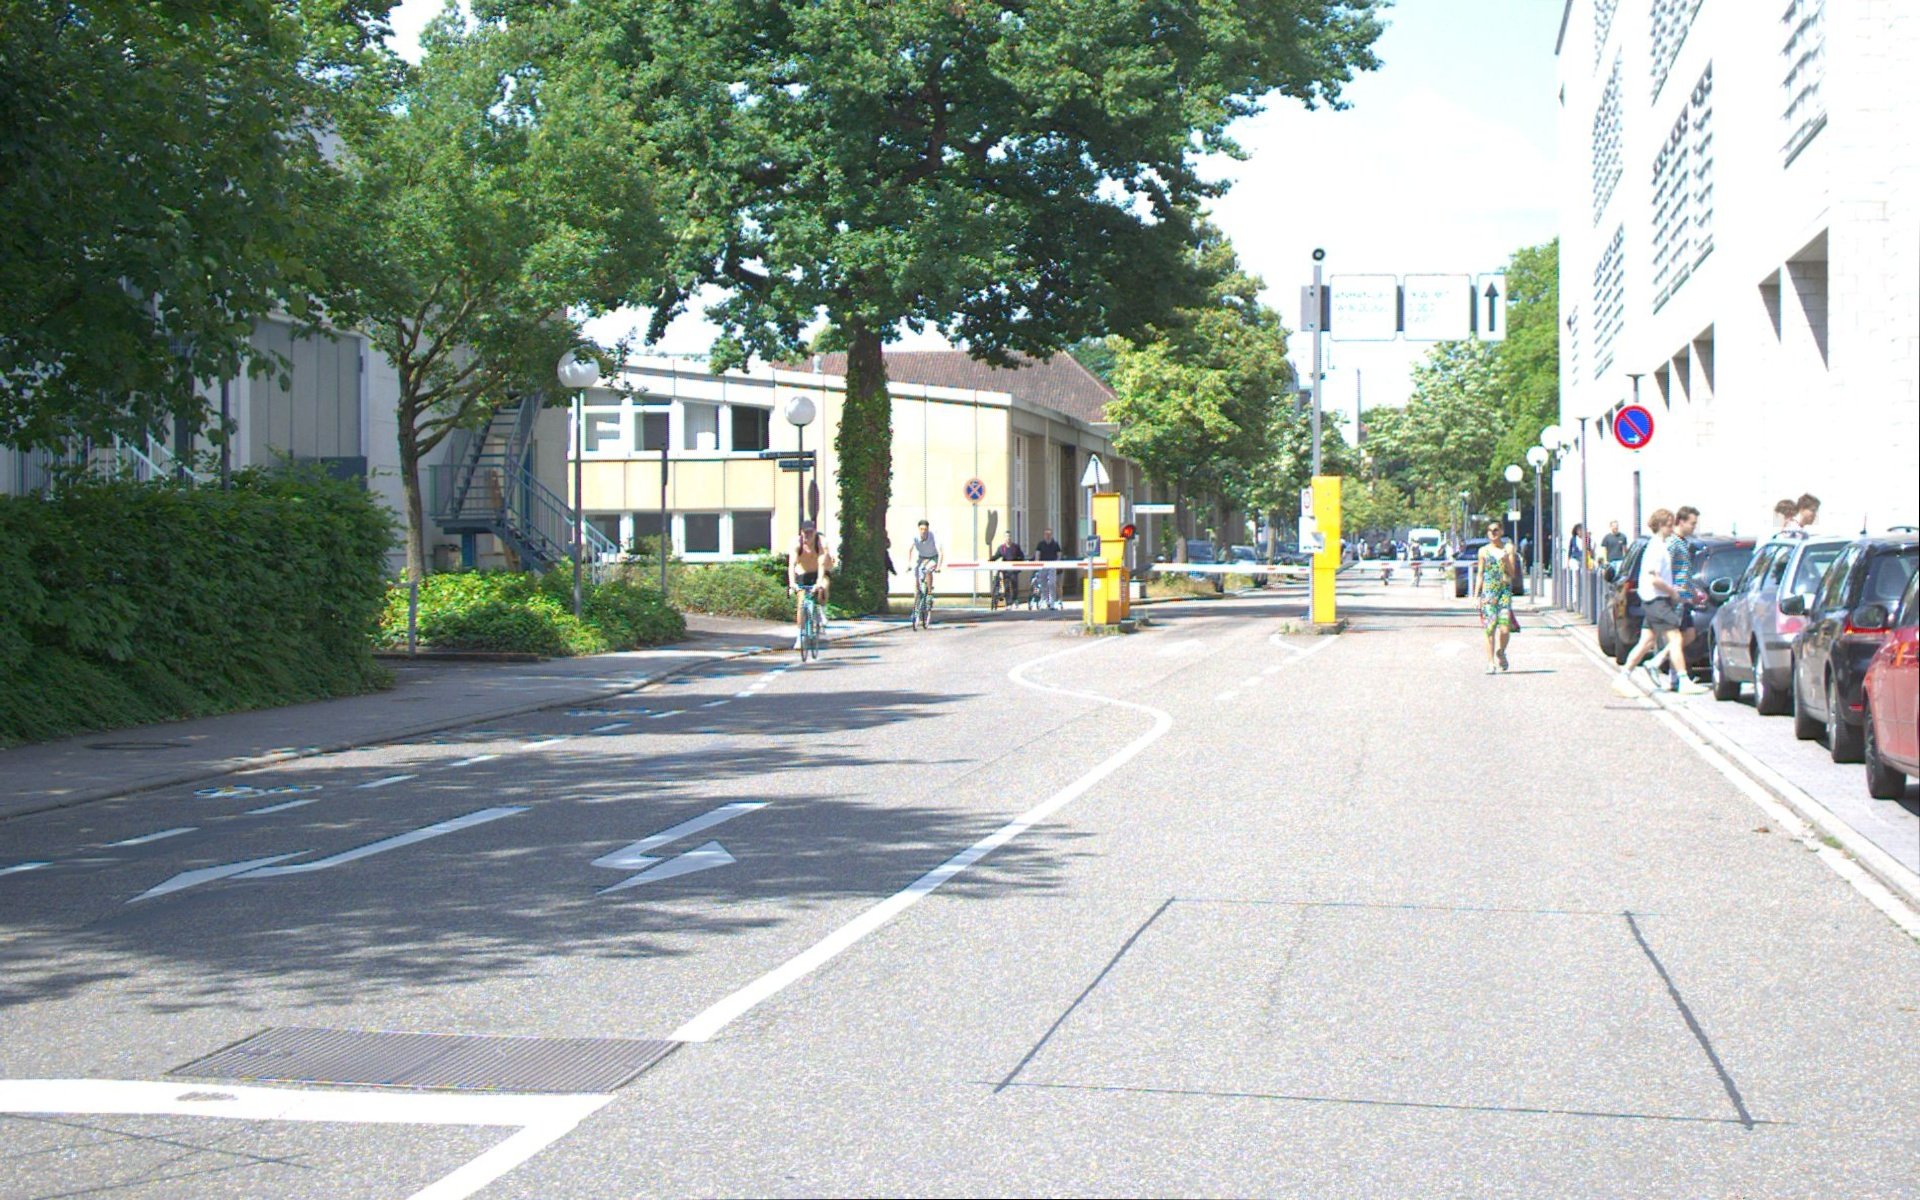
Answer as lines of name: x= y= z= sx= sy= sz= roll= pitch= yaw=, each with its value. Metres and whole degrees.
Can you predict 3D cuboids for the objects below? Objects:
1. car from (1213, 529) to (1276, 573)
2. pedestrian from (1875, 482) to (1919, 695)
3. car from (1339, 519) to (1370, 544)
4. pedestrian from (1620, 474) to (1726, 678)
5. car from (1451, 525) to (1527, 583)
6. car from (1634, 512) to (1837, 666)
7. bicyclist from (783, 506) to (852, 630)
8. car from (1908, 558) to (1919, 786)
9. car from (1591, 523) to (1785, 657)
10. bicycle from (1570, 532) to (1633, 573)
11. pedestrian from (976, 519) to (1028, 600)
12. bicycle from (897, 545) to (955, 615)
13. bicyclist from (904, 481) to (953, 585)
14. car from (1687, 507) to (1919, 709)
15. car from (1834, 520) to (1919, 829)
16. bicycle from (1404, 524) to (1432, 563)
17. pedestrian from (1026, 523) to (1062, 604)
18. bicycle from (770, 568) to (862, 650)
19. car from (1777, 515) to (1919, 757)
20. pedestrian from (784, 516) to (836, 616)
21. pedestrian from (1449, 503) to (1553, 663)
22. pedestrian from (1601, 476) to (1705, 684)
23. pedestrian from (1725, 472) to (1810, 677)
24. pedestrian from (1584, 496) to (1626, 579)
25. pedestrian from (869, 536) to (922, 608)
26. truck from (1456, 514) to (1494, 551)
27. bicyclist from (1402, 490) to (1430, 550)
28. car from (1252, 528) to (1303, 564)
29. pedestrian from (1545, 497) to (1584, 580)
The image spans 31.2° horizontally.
car: x=10.296 y=-1.769 z=124.305 sx=1.994 sy=1.540 sz=4.210 roll=0 pitch=1 yaw=8
pedestrian: x=9.001 y=-0.119 z=31.448 sx=1.095 sy=1.913 sz=1.020 roll=-1 pitch=1 yaw=9
car: x=29.364 y=-5.116 z=255.697 sx=1.994 sy=1.714 sz=3.998 roll=-1 pitch=-1 yaw=10
pedestrian: x=6.802 y=-0.233 z=32.794 sx=0.783 sy=1.919 sz=0.733 roll=0 pitch=1 yaw=30
car: x=14.476 y=-1.282 z=94.225 sx=1.994 sy=1.540 sz=4.210 roll=-1 pitch=1 yaw=8
car: x=7.979 y=-0.146 z=35.660 sx=1.614 sy=1.491 sz=4.005 roll=0 pitch=1 yaw=6
bicyclist: x=-1.793 y=-0.404 z=43.426 sx=0.693 sy=1.543 sz=1.018 roll=-1 pitch=1 yaw=7
car: x=4.901 y=0.507 z=13.357 sx=1.719 sy=1.395 sz=4.437 roll=-3 pitch=1 yaw=8
car: x=8.435 y=-0.160 z=40.133 sx=1.867 sy=1.459 sz=4.519 roll=-1 pitch=1 yaw=8
bicycle: x=16.913 y=-1.252 z=90.643 sx=1.545 sy=1.063 sz=0.647 roll=-1 pitch=1 yaw=16
pedestrian: x=0.959 y=-0.930 z=78.182 sx=1.056 sy=1.809 sz=0.806 roll=-1 pitch=1 yaw=7
bicycle: x=-0.566 y=-0.347 z=58.457 sx=0.693 sy=1.167 sz=2.209 roll=-1 pitch=1 yaw=7
bicyclist: x=-0.533 y=-1.131 z=58.328 sx=0.693 sy=1.731 sz=0.918 roll=-1 pitch=1 yaw=7
car: x=7.342 y=0.011 z=29.076 sx=1.719 sy=1.524 sz=4.566 roll=-2 pitch=1 yaw=5
car: x=5.744 y=0.310 z=18.387 sx=1.615 sy=1.491 sz=4.146 roll=-3 pitch=1 yaw=9
bicycle: x=16.665 y=-2.060 z=125.157 sx=0.987 sy=1.311 sz=2.963 roll=-1 pitch=-1 yaw=7
pedestrian: x=1.894 y=-0.837 z=77.585 sx=0.705 sy=1.803 sz=1.001 roll=-1 pitch=1 yaw=7
bicycle: x=-1.807 y=0.099 z=43.392 sx=0.793 sy=0.985 sz=2.209 roll=-1 pitch=1 yaw=7
car: x=6.677 y=0.179 z=23.562 sx=1.719 sy=1.524 sz=3.999 roll=-1 pitch=1 yaw=8
pedestrian: x=-2.459 y=-0.562 z=56.410 sx=0.713 sy=1.621 sz=0.883 roll=0 pitch=1 yaw=7
pedestrian: x=5.884 y=-0.193 z=37.441 sx=0.622 sy=1.711 sz=1.040 roll=-2 pitch=1 yaw=-24
pedestrian: x=6.476 y=-0.188 z=32.131 sx=0.785 sy=1.919 sz=0.592 roll=0 pitch=1 yaw=30
pedestrian: x=7.660 y=-0.241 z=32.599 sx=0.724 sy=1.919 sz=0.750 roll=0 pitch=1 yaw=16
pedestrian: x=14.088 y=-1.376 z=75.145 sx=0.767 sy=1.774 sz=0.910 roll=-2 pitch=1 yaw=6
pedestrian: x=-1.462 y=-0.628 z=77.627 sx=0.886 sy=1.627 sz=0.895 roll=0 pitch=0 yaw=27
truck: x=29.664 y=-3.871 z=198.023 sx=1.994 sy=2.007 sz=3.999 roll=-1 pitch=-1 yaw=6
bicyclist: x=16.603 y=-2.911 z=125.189 sx=0.987 sy=2.125 sz=1.036 roll=-1 pitch=-1 yaw=7
car: x=14.067 y=-2.415 z=152.177 sx=1.994 sy=1.540 sz=4.210 roll=0 pitch=1 yaw=8
pedestrian: x=13.242 y=-1.361 z=75.352 sx=0.695 sy=1.774 sz=1.085 roll=-2 pitch=1 yaw=6
